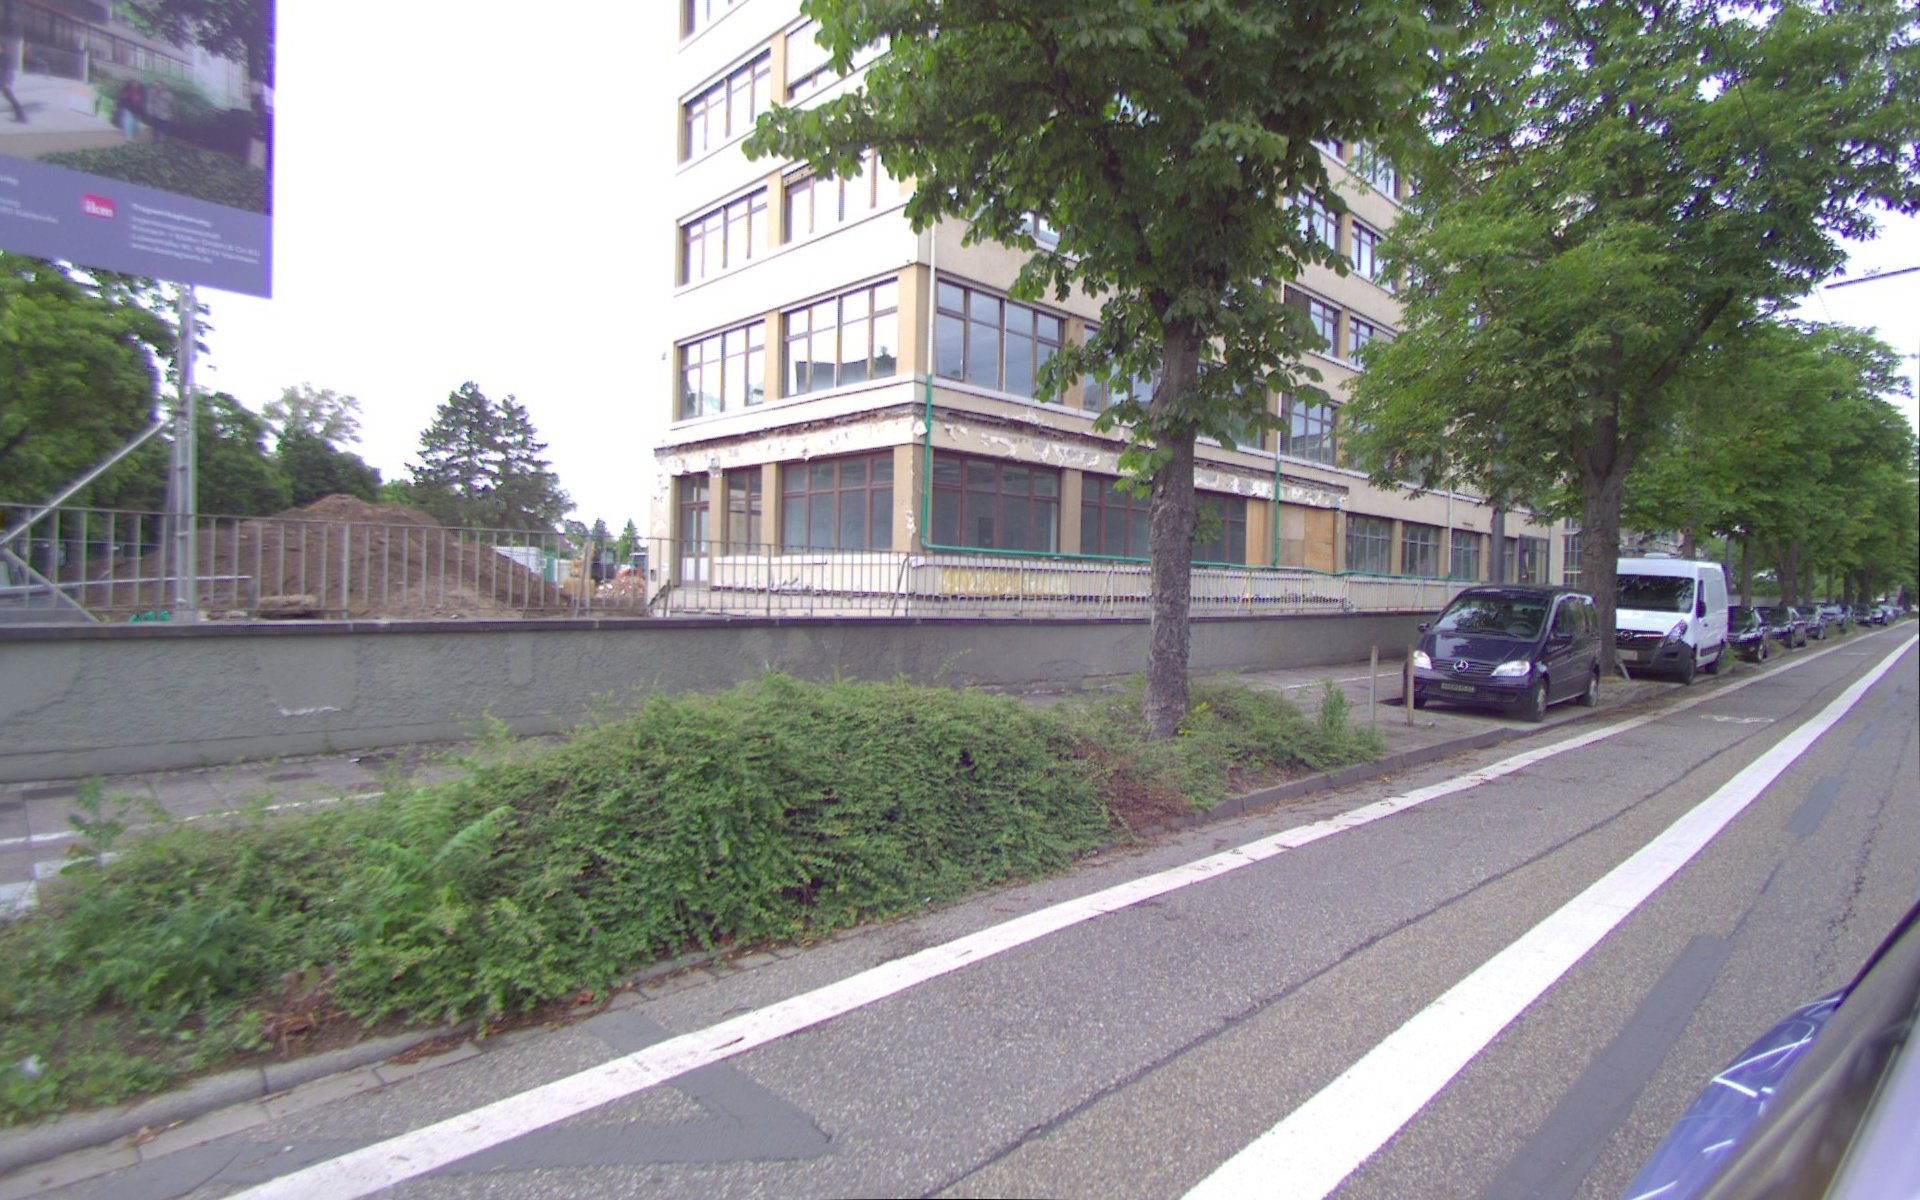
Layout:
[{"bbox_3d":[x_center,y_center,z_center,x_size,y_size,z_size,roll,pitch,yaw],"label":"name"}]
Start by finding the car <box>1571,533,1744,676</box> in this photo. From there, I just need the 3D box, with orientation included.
[{"bbox_3d":[14.792,0.072,21.310,2.113,2.635,5.403,1,0,45],"label":"car"}]

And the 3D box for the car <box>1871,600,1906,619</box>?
[{"bbox_3d":[76.208,0.746,83.047,1.994,1.479,4.322,1,0,45],"label":"car"}]

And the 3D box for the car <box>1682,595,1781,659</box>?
[{"bbox_3d":[21.284,0.673,27.861,1.820,1.518,4.045,4,3,41],"label":"car"}]

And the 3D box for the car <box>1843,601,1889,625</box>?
[{"bbox_3d":[58.431,0.796,65.222,1.994,1.479,4.322,1,0,45],"label":"car"}]

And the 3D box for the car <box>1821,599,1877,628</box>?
[{"bbox_3d":[48.177,0.719,54.817,1.994,1.479,4.322,1,0,45],"label":"car"}]

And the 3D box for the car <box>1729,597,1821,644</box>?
[{"bbox_3d":[27.781,0.660,34.451,1.994,1.479,4.322,1,0,45],"label":"car"}]

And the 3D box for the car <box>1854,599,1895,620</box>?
[{"bbox_3d":[66.438,0.655,73.481,1.994,1.479,4.322,1,0,45],"label":"car"}]

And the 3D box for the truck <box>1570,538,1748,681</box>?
[{"bbox_3d":[14.842,0.130,21.353,2.114,2.634,5.403,3,2,44],"label":"truck"}]

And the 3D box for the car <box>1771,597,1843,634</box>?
[{"bbox_3d":[35.983,0.622,42.980,1.994,1.479,4.322,1,0,45],"label":"car"}]

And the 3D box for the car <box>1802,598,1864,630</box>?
[{"bbox_3d":[42.522,0.653,49.278,1.994,1.479,4.322,1,0,45],"label":"car"}]

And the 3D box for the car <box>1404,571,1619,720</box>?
[{"bbox_3d":[7.973,0.524,14.469,1.654,1.835,4.019,1,1,45],"label":"car"}]
